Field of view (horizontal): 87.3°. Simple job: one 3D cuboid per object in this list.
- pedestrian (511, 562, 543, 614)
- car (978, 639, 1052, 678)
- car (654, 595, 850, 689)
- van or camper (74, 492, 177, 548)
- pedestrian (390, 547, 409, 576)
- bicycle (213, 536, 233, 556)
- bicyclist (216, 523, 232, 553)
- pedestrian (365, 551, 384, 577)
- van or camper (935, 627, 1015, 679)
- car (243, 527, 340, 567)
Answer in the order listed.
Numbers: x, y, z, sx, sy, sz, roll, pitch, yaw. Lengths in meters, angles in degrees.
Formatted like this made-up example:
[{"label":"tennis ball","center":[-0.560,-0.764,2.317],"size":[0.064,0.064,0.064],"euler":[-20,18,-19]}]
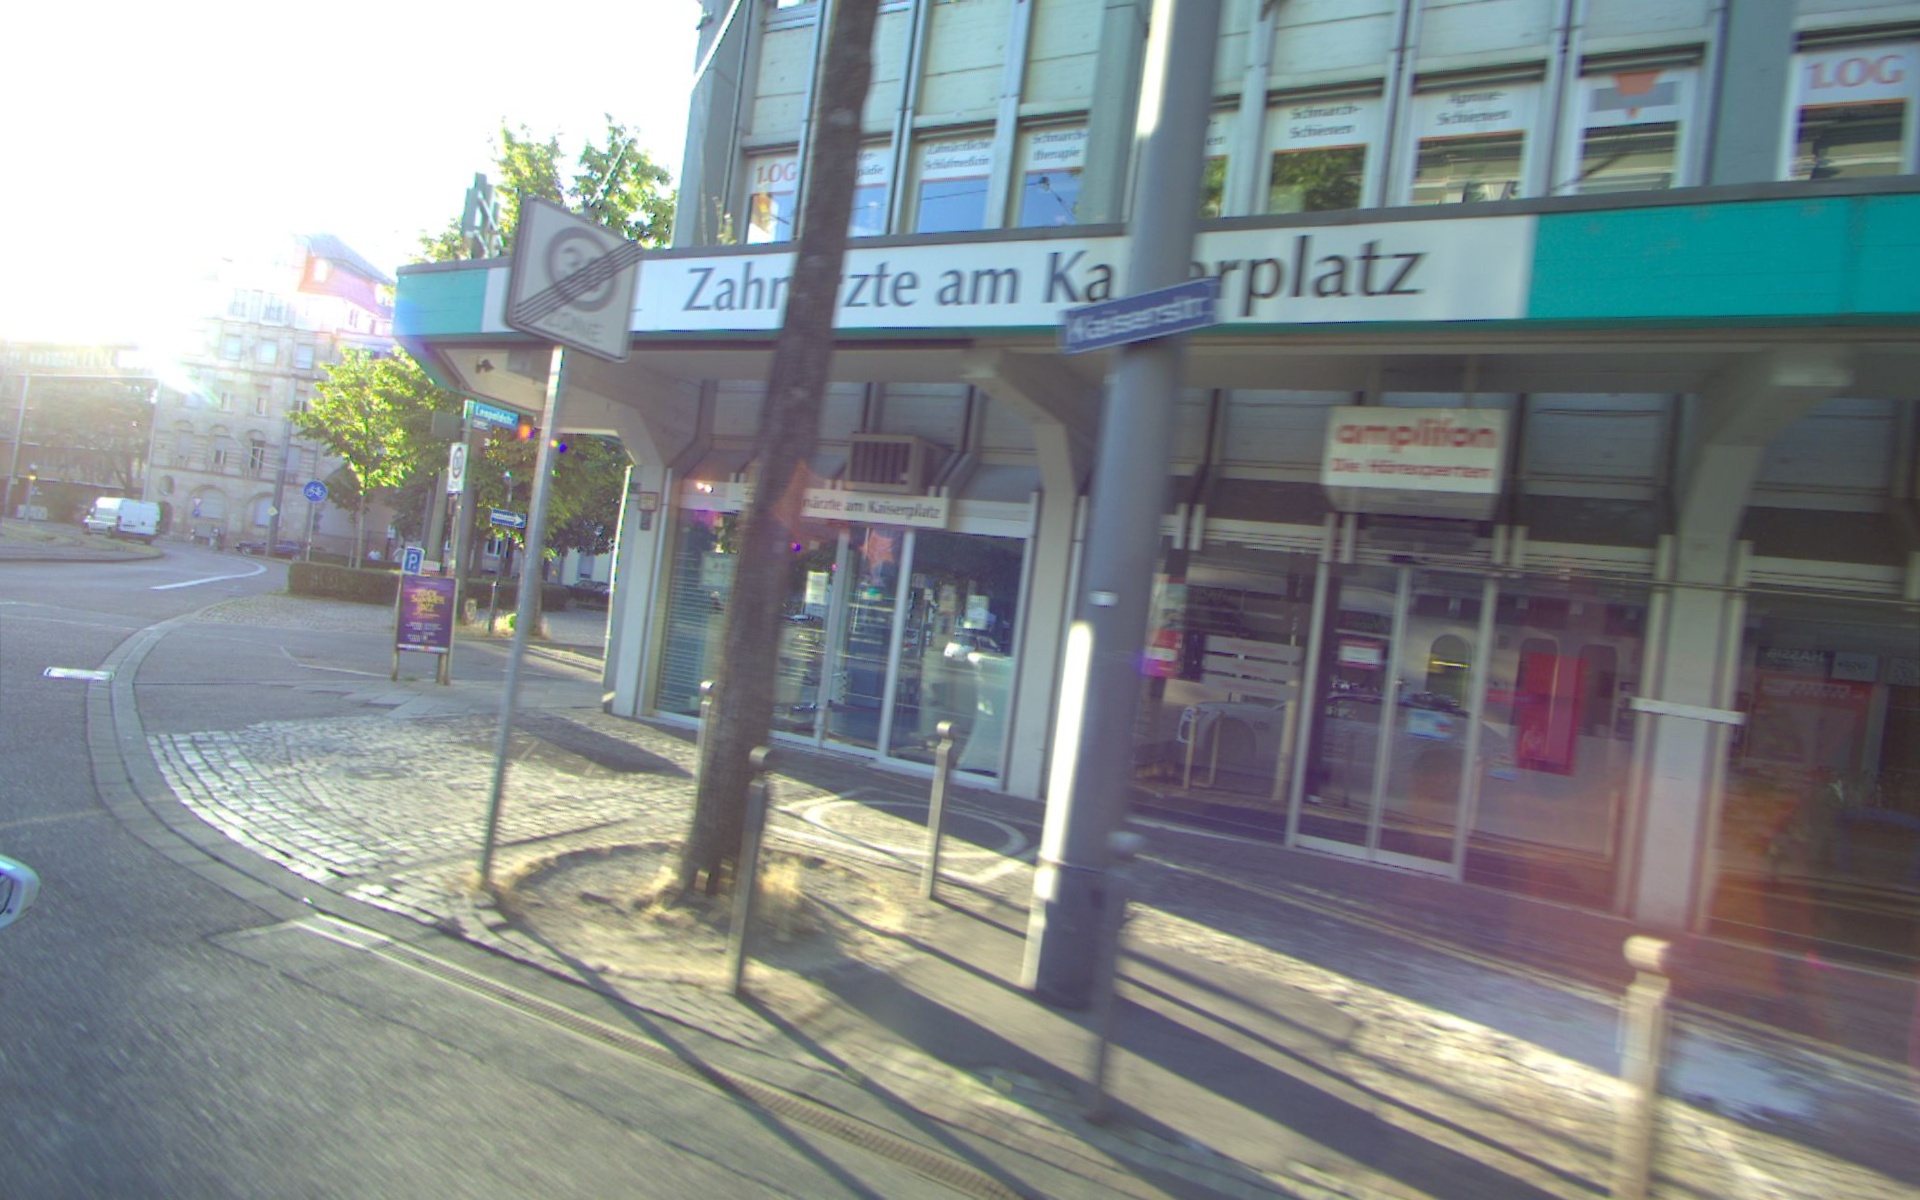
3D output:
[{"label":"pedestrian","center":[-18.043,-0.478,41.912],"size":[0.638,2.037,0.818],"euler":[8,-1,8]},{"label":"car","center":[2.607,2.757,46.604],"size":[1.828,1.442,4.331],"euler":[6,-3,24]},{"label":"car","center":[-4.060,0.909,20.274],"size":[1.800,1.456,3.869],"euler":[8,-2,24]},{"label":"van or camper","center":[-49.685,-4.756,59.859],"size":[6.214,2.502,2.612],"euler":[7,-1,31]},{"label":"pedestrian","center":[-31.155,-2.120,55.928],"size":[0.625,1.529,0.685],"euler":[8,-1,-16]},{"label":"bicycle","center":[-43.152,-3.180,58.892],"size":[2.213,0.990,0.508],"euler":[6,-1,45]},{"label":"bicyclist","center":[-43.063,-3.657,58.866],"size":[0.765,1.661,0.508],"euler":[7,-1,45]},{"label":"pedestrian","center":[-36.988,-2.257,63.581],"size":[0.583,1.529,0.688],"euler":[8,-1,2]},{"label":"van or camper","center":[0.702,2.290,42.600],"size":[1.800,1.788,3.869],"euler":[8,-2,24]},{"label":"car","center":[-43.063,-3.402,64.883],"size":[4.699,1.782,1.814],"euler":[8,-1,-17]}]
